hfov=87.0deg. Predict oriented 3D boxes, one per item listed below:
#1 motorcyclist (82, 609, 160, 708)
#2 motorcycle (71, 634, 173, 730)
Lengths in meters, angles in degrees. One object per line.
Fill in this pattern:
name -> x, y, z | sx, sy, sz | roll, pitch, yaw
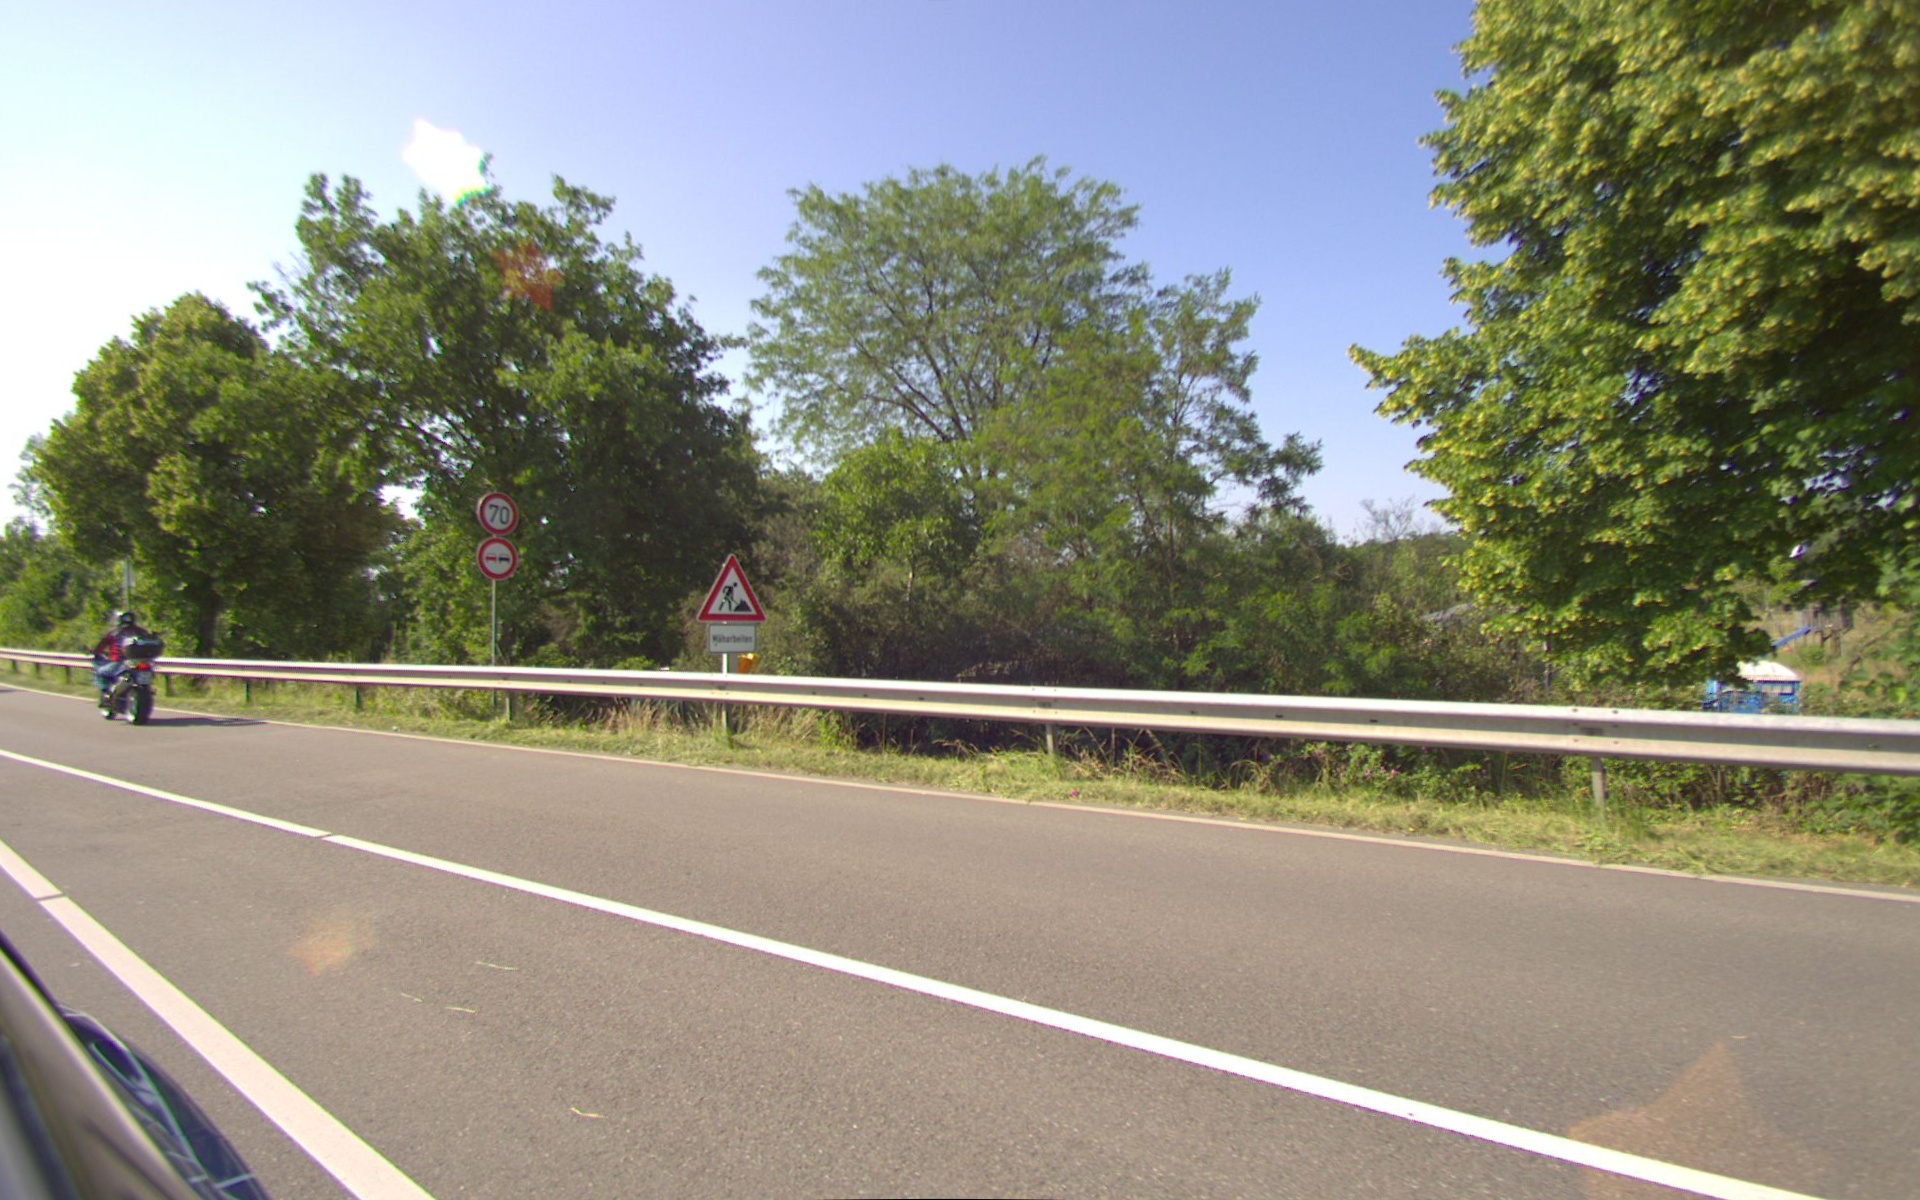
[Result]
motorcyclist -> -12.495, 0.856, 15.063 | 0.978, 1.418, 0.692 | -2, -2, 38
motorcycle -> -12.457, 1.171, 15.019 | 2.178, 1.318, 0.710 | -2, -2, 38
